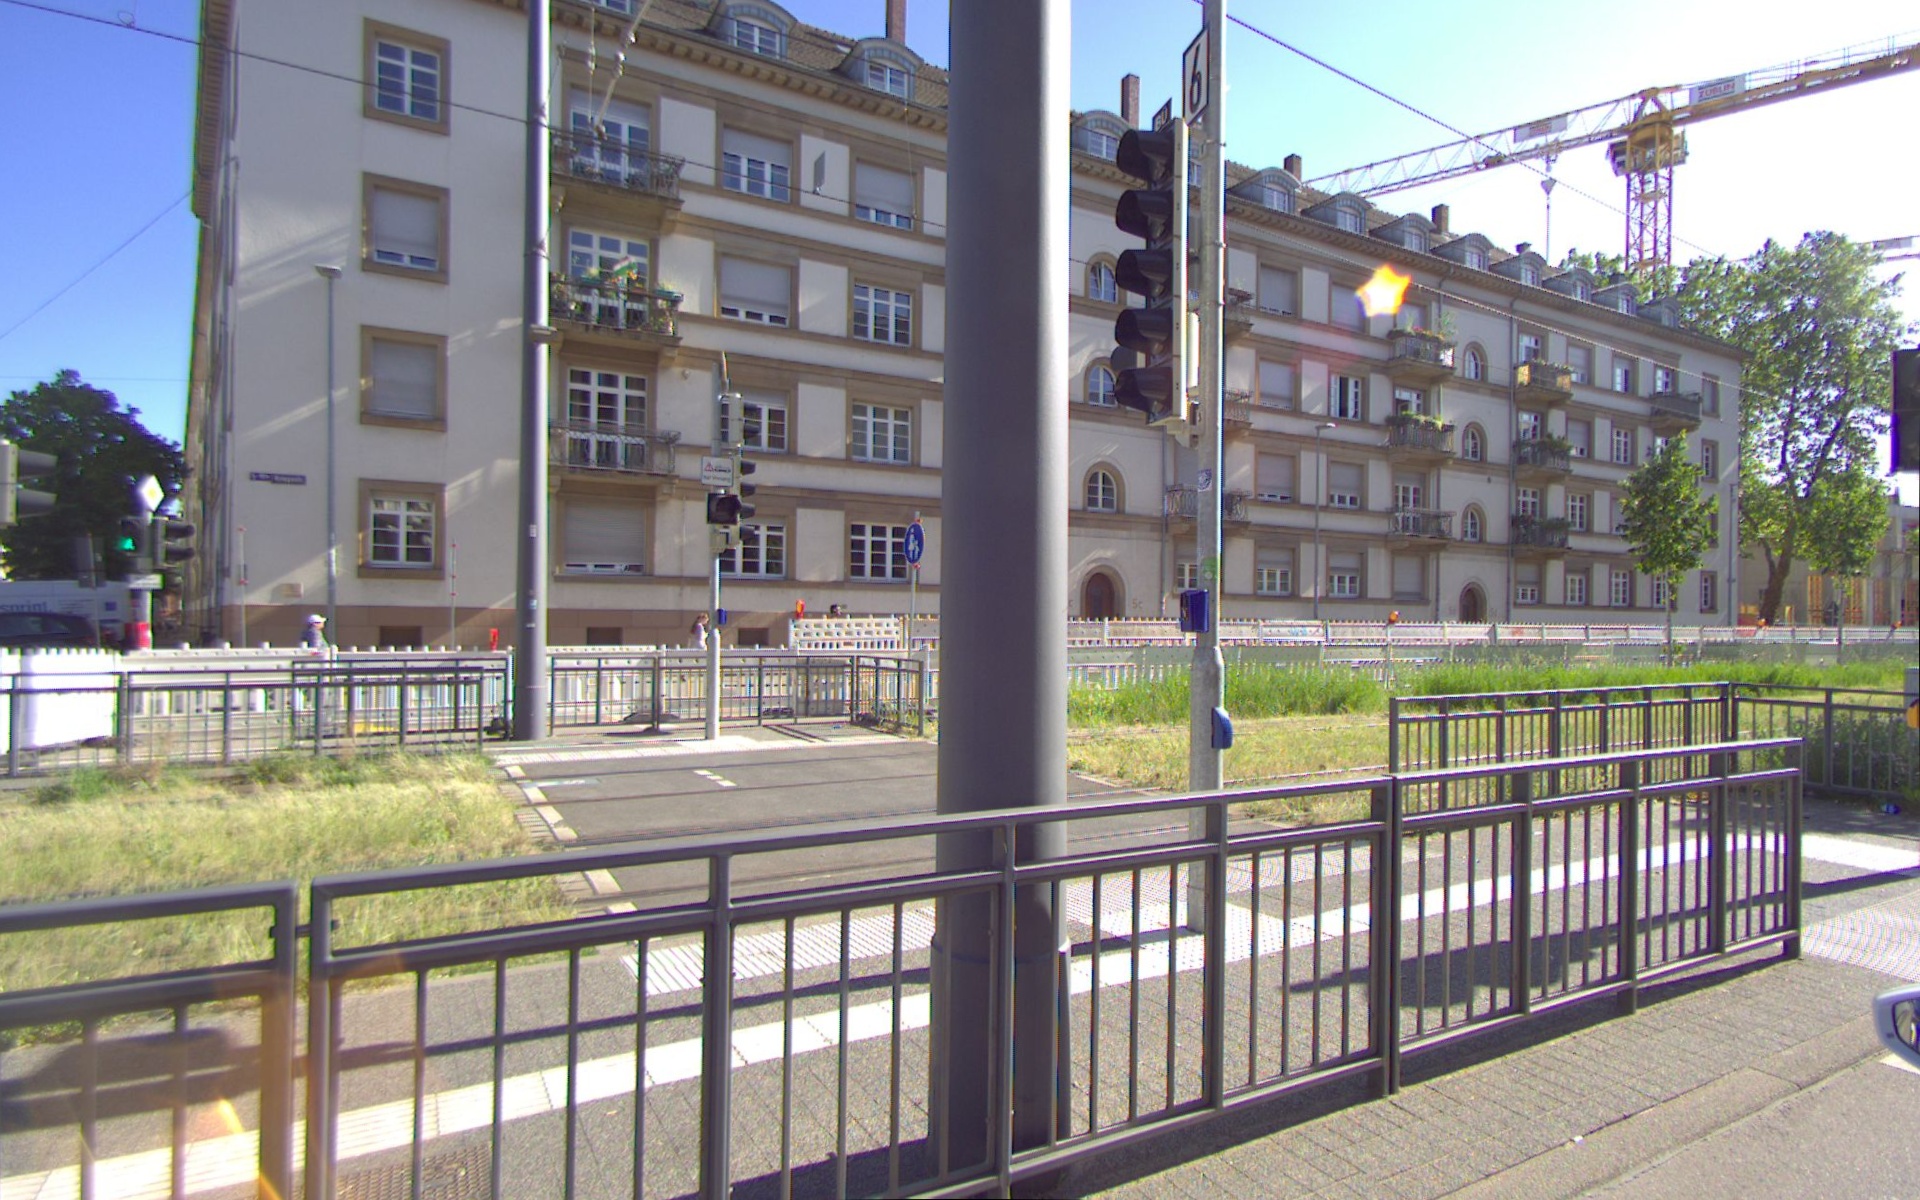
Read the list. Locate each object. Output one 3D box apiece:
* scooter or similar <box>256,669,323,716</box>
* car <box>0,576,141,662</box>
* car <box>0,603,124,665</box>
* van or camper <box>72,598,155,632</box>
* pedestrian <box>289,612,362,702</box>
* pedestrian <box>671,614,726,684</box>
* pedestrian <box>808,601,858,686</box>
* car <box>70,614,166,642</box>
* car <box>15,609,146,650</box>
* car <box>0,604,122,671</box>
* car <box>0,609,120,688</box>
[{"bbox_3d":[-11.174,1.527,16.757,0.697,0.729,0.607,0,-1,6],"label":"scooter or similar"},{"bbox_3d":[-28.161,0.534,29.964,5.710,2.487,1.977,2,0,-40],"label":"car"},{"bbox_3d":[-26.307,0.945,28.405,3.965,1.662,1.849,2,0,-38],"label":"car"},{"bbox_3d":[-59.288,1.085,70.448,4.311,2.244,1.930,2,0,-40],"label":"van or camper"},{"bbox_3d":[-11.045,0.972,17.499,0.697,1.524,0.807,0,-1,7],"label":"pedestrian"},{"bbox_3d":[-5.968,1.112,22.901,1.009,1.538,0.783,2,0,-30],"label":"pedestrian"},{"bbox_3d":[-2.913,0.984,23.057,0.861,1.888,0.763,2,0,-30],"label":"pedestrian"},{"bbox_3d":[-46.122,1.559,55.099,3.967,1.448,1.758,2,0,-40],"label":"car"},{"bbox_3d":[-36.294,1.208,41.600,3.965,1.576,1.848,2,0,-39],"label":"car"},{"bbox_3d":[-24.928,0.979,26.696,3.965,1.662,1.849,2,0,-38],"label":"car"},{"bbox_3d":[-21.595,1.061,22.559,3.959,1.662,1.851,2,0,-34],"label":"car"}]
